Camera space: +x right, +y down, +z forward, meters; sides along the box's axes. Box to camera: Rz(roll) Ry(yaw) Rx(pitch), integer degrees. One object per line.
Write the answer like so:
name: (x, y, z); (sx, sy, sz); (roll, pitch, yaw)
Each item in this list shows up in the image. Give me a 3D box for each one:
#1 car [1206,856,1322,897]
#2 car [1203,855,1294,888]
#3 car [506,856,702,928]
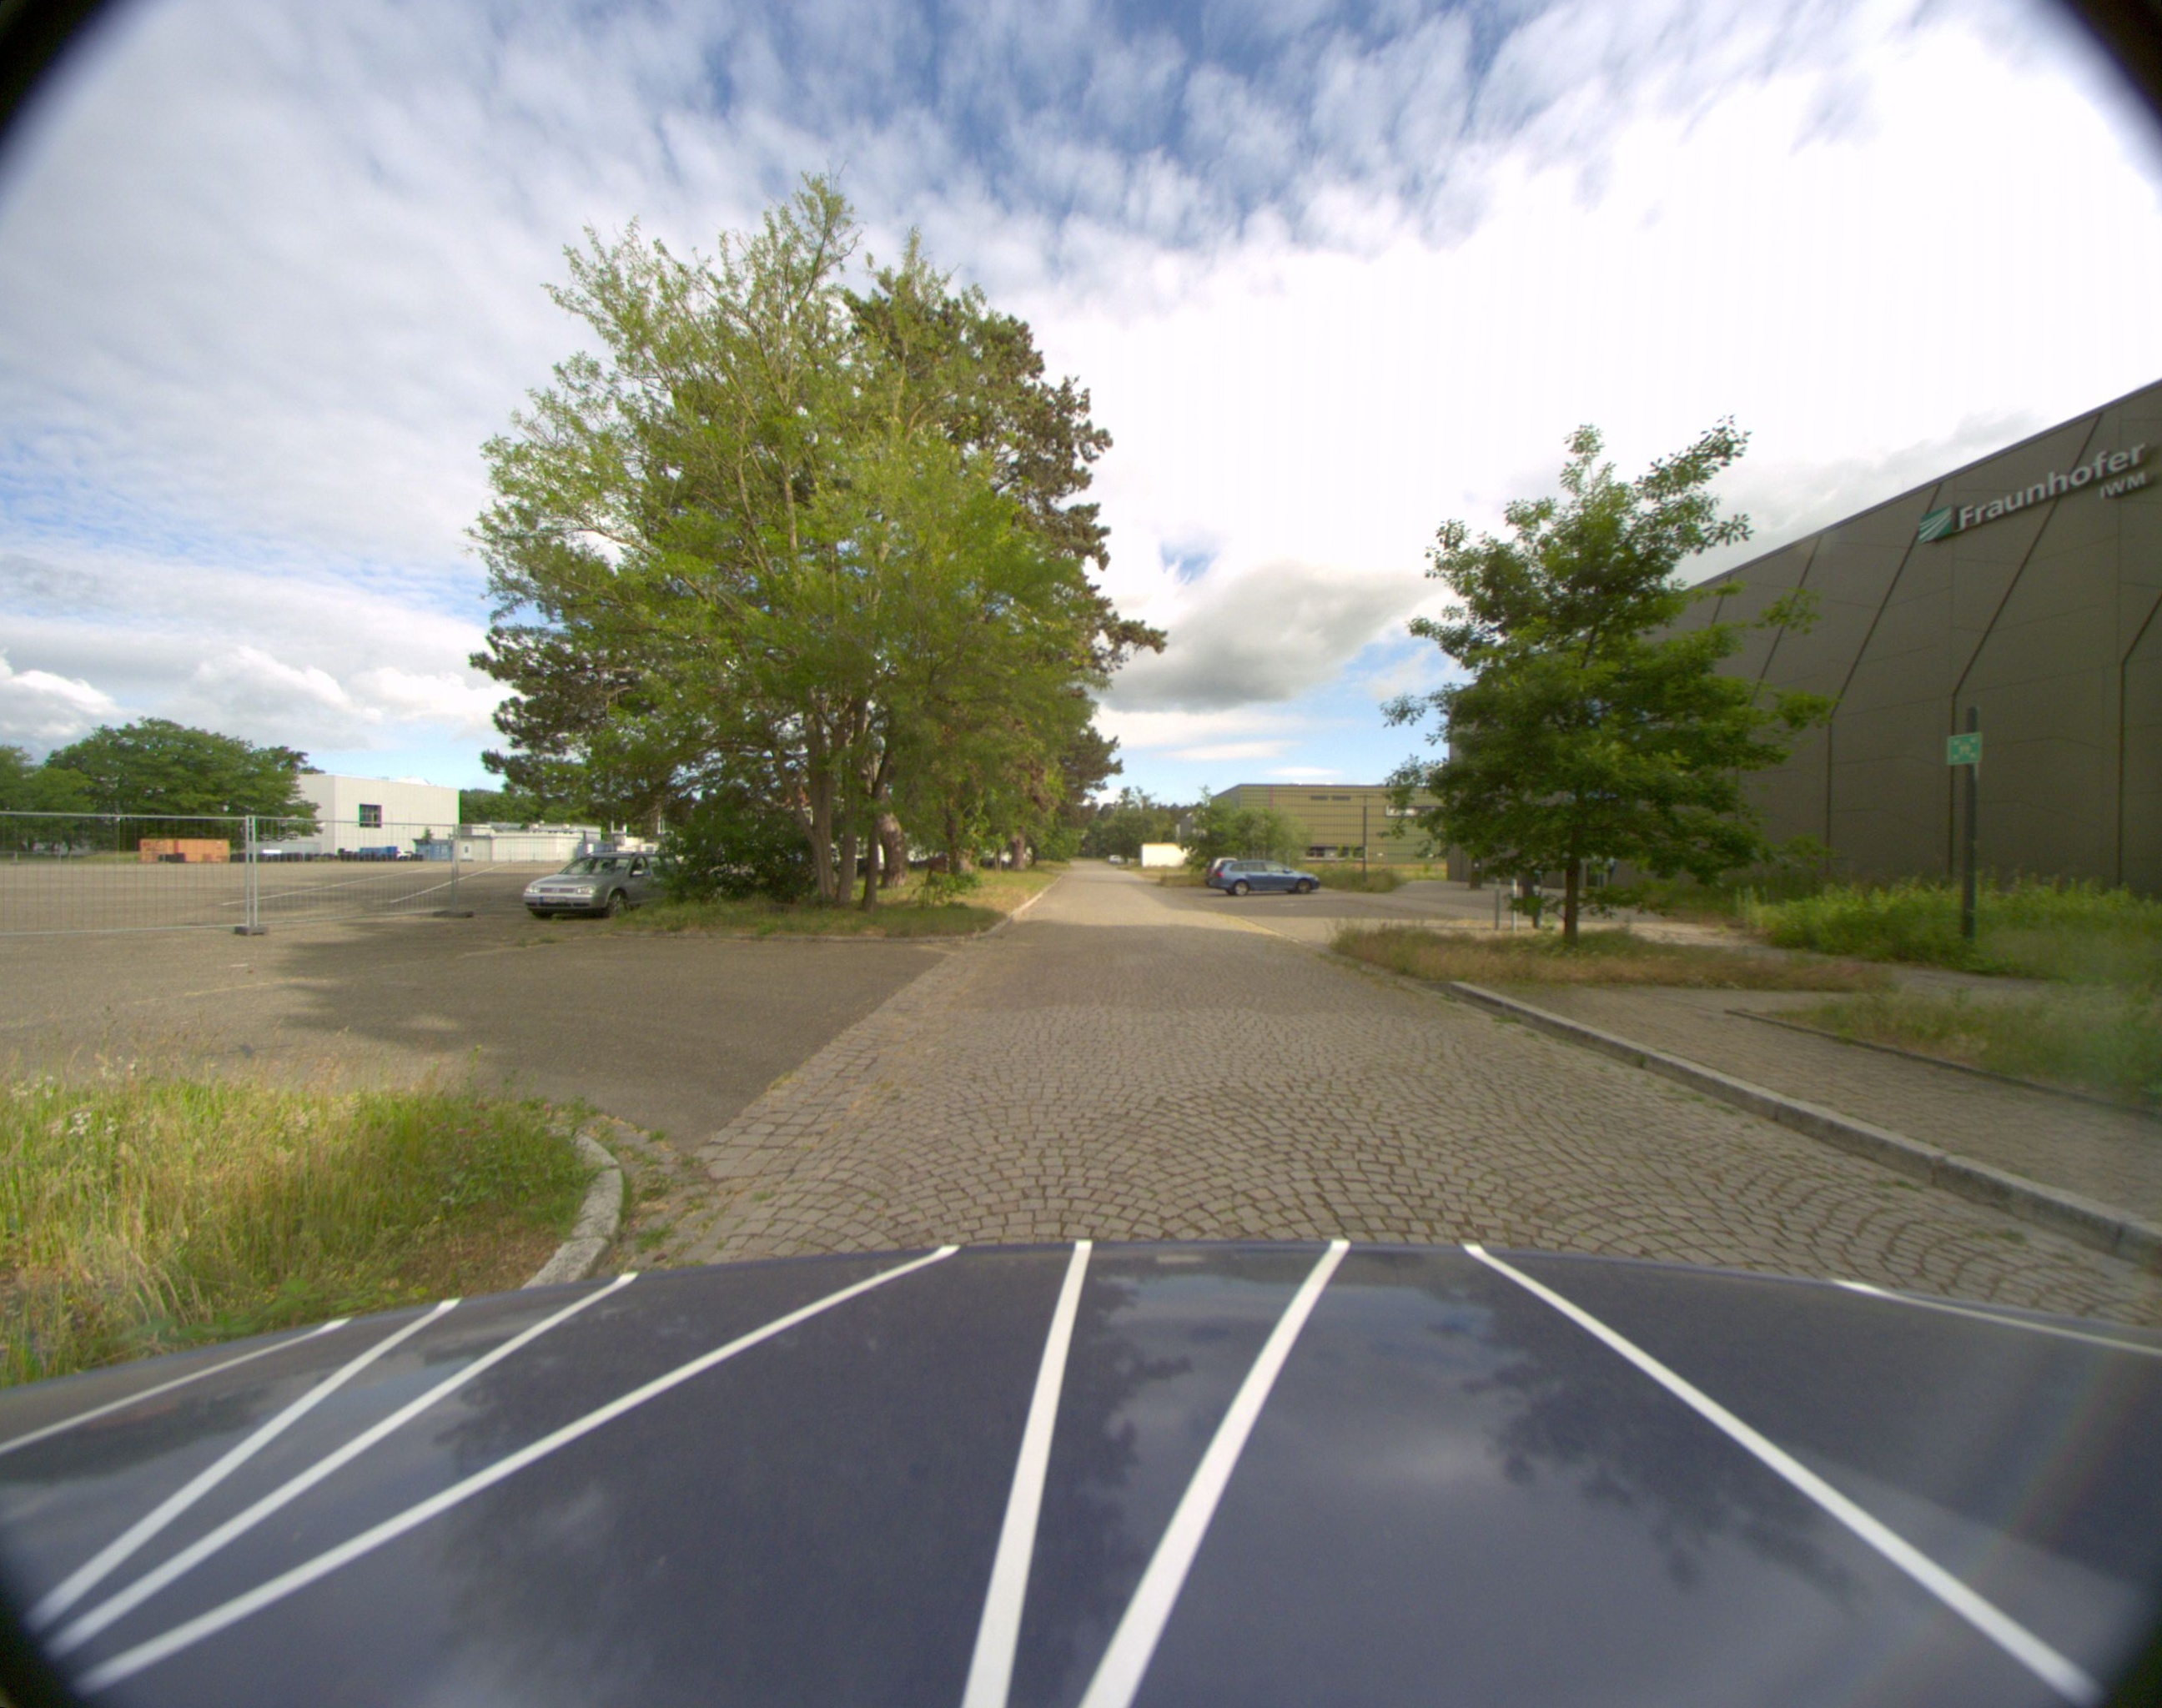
car: (7.682, 0.916, 32.111); (4.404, 1.501, 1.716); (-2, 1, -2)
car: (8.632, 0.872, 39.445); (4.401, 1.537, 1.842); (-2, 0, 7)
car: (-10.849, 0.788, 17.714); (1.759, 1.440, 4.327); (1, 0, 1)
